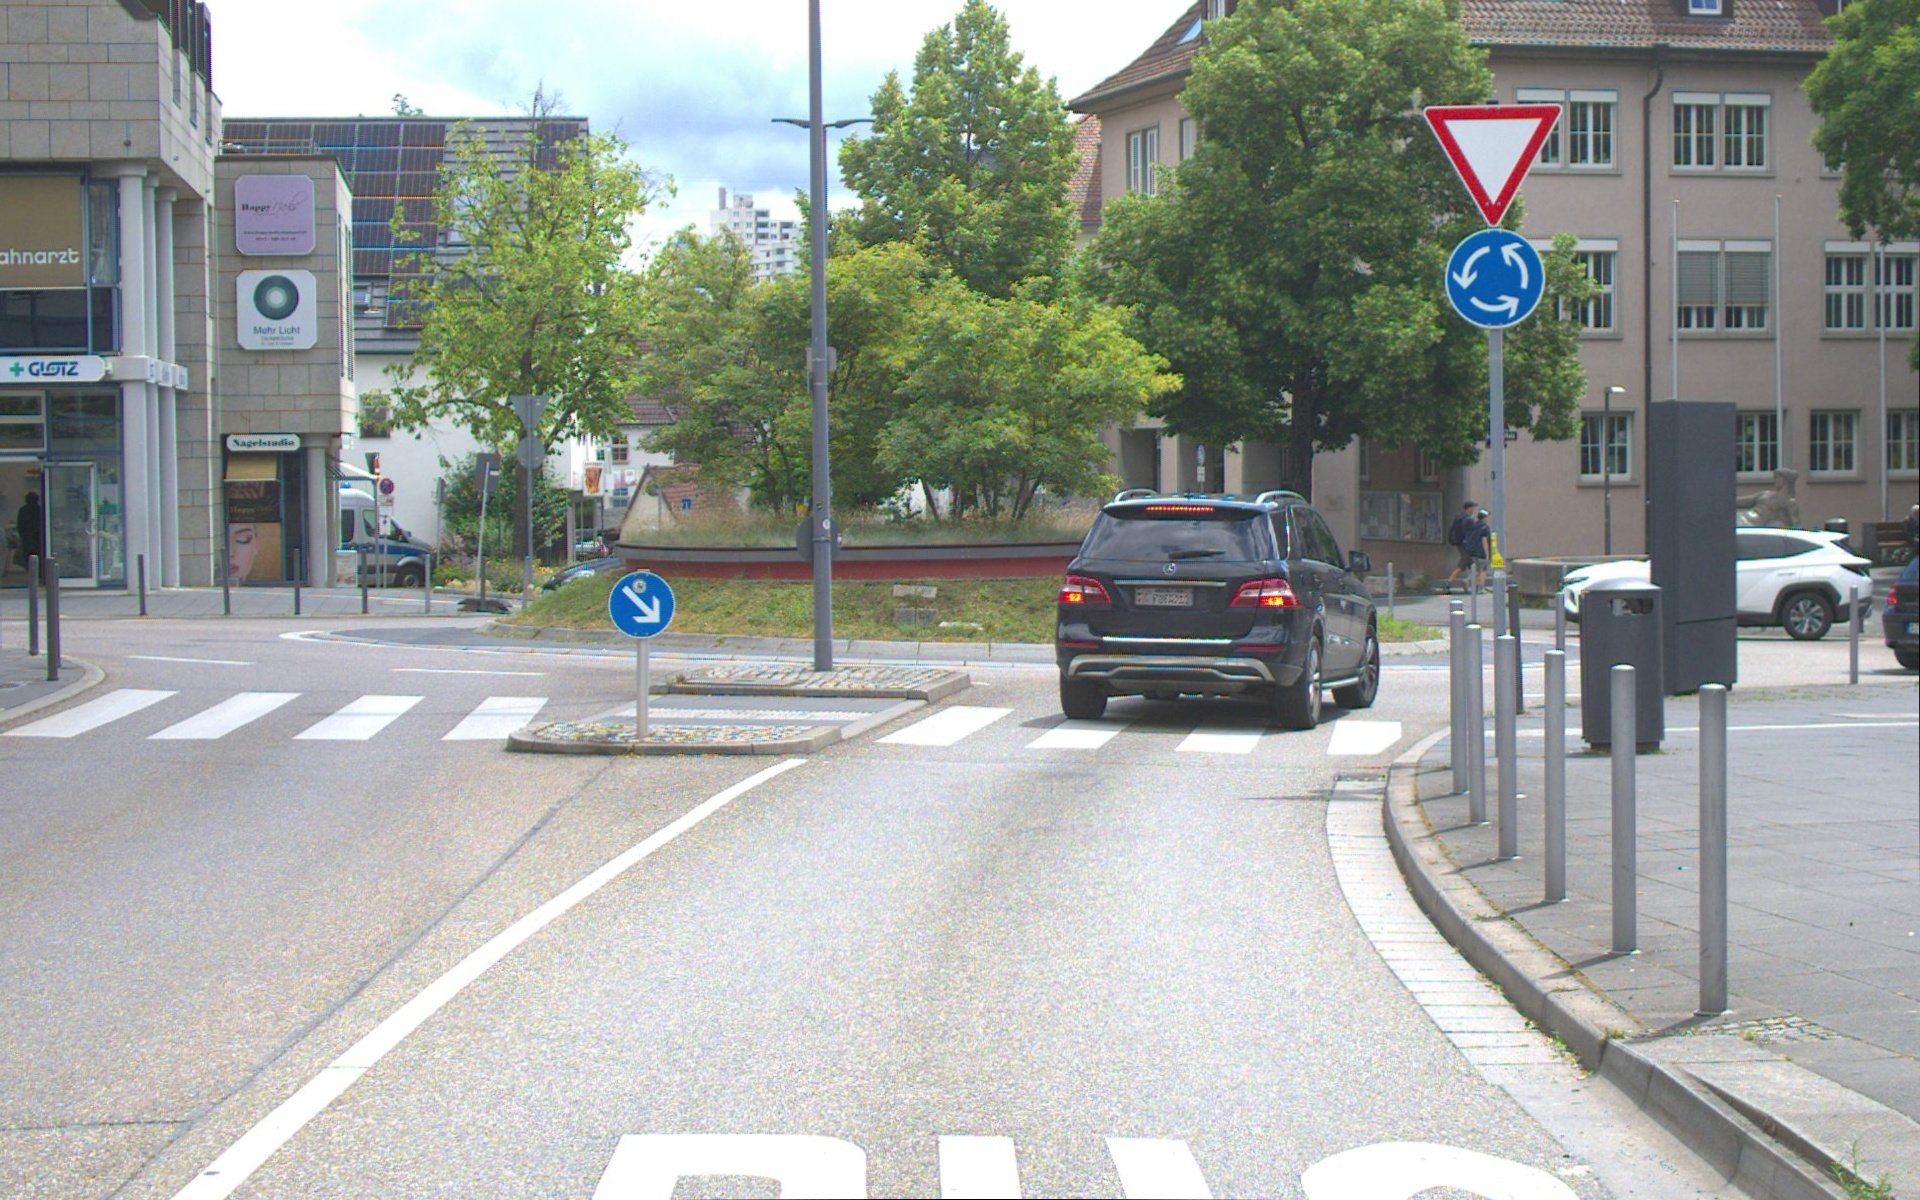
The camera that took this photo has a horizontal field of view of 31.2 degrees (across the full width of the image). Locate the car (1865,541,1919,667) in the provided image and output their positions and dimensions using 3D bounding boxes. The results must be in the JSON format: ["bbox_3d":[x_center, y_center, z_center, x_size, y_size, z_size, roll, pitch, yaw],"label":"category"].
[{"bbox_3d":[12.212,0.023,39.162,3.824,1.378,1.613,-1,2,-36],"label":"car"}]

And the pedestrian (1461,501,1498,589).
[{"bbox_3d":[9.730,-1.028,64.376,0.573,1.603,0.437,3,6,19],"label":"pedestrian"}]

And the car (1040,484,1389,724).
[{"bbox_3d":[2.095,-0.024,27.042,2.028,1.721,4.431,0,1,14],"label":"car"}]

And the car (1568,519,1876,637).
[{"bbox_3d":[11.093,-0.326,50.046,4.257,1.571,1.848,-1,1,14],"label":"car"}]

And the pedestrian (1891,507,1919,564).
[{"bbox_3d":[20.008,-1.366,72.597,0.487,1.178,0.579,2,2,34],"label":"pedestrian"}]

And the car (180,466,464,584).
[{"bbox_3d":[-15.138,-1.743,81.655,6.283,2.551,2.207,1,-2,-22],"label":"car"}]

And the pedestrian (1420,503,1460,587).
[{"bbox_3d":[9.013,-1.044,64.542,0.637,1.518,0.577,2,6,16],"label":"pedestrian"}]
